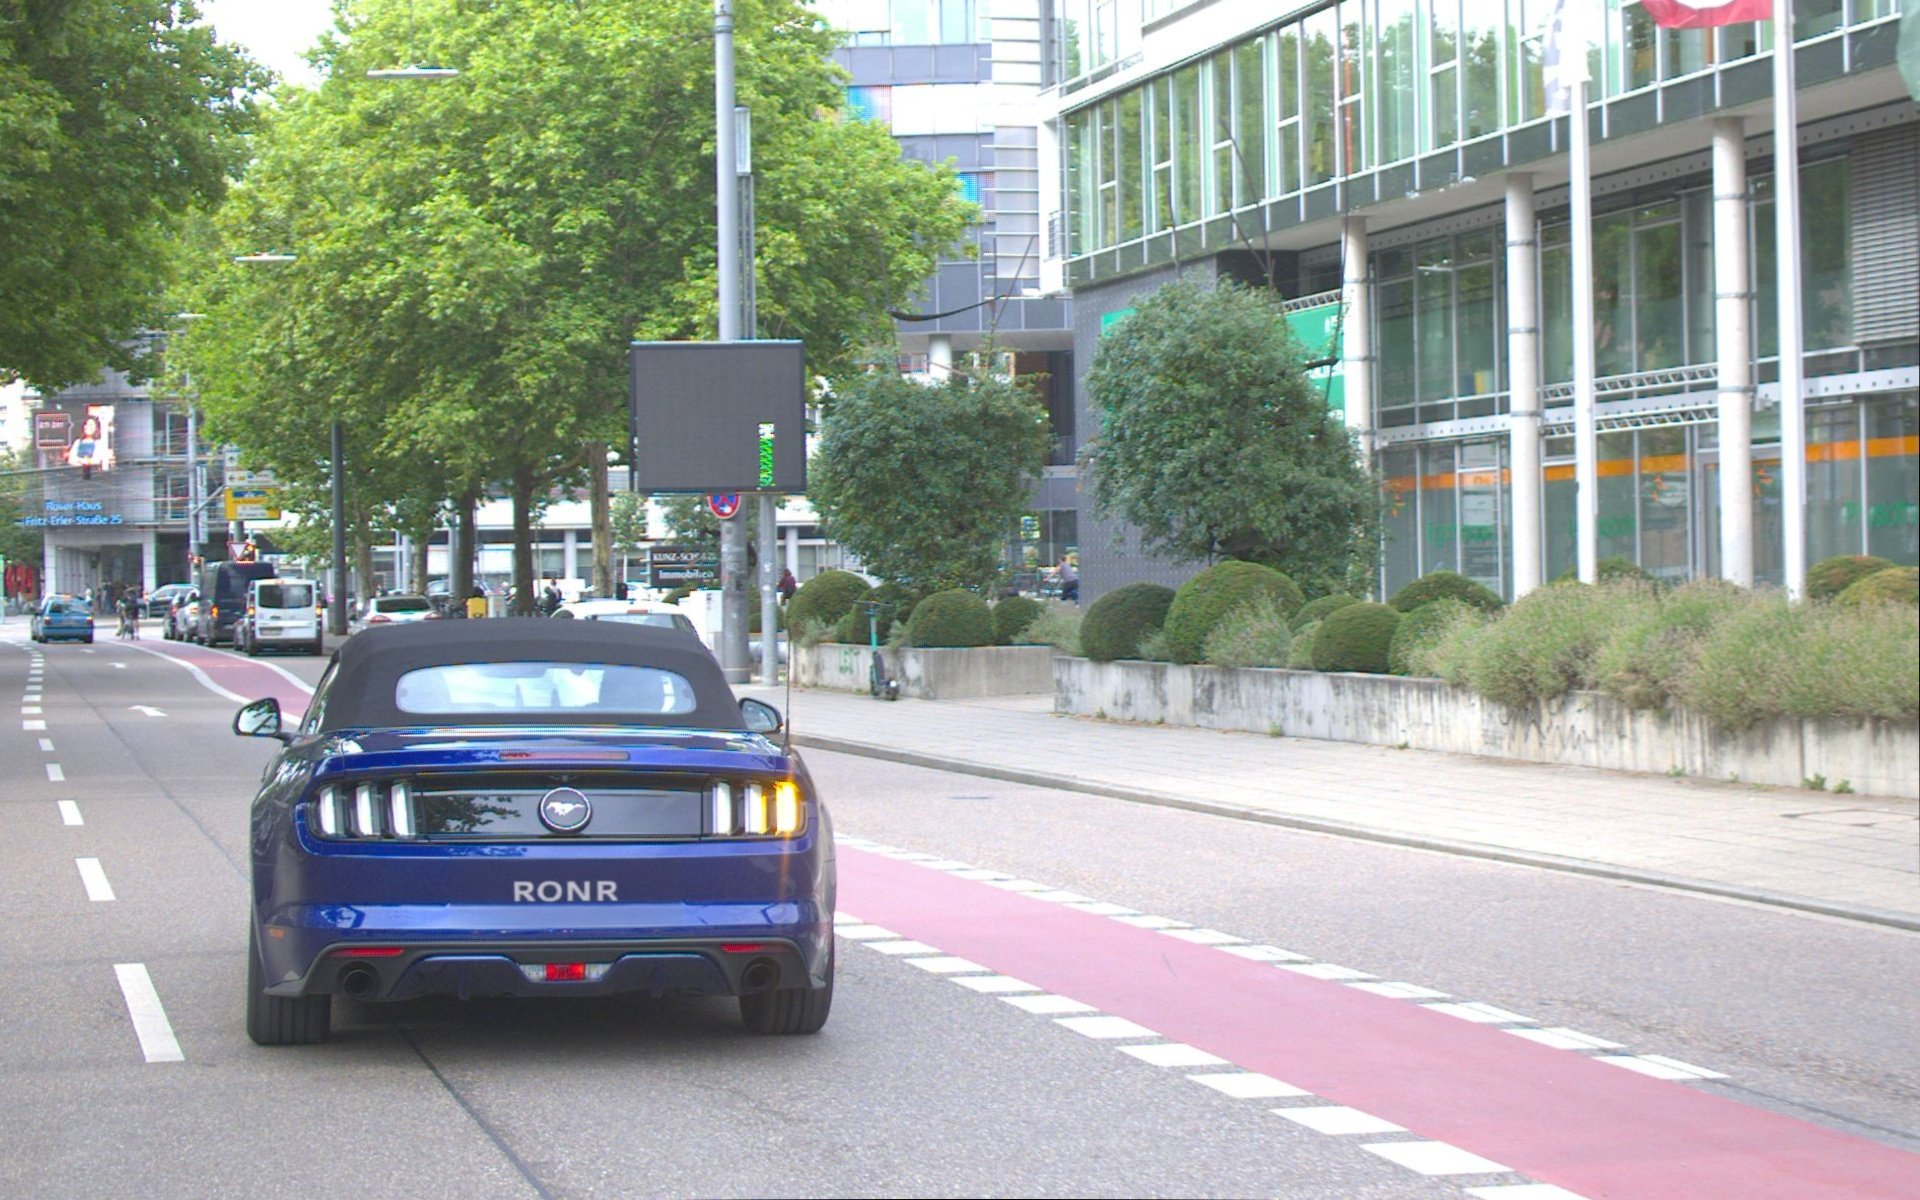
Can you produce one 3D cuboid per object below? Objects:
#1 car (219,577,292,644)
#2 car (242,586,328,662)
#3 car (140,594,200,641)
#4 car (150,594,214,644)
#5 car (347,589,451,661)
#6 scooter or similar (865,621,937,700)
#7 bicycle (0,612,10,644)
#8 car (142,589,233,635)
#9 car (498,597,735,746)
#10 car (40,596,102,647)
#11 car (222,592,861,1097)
[{"bbox_3d":[-20.745,0.310,101.158,1.834,1.897,4.176,-1,0,-15],"label":"car"},{"bbox_3d":[-17.479,0.605,88.890,1.890,1.897,4.130,-1,0,-15],"label":"car"},{"bbox_3d":[-26.740,0.566,116.251,1.834,1.516,4.176,-1,0,-15],"label":"car"},{"bbox_3d":[-24.882,0.598,109.913,1.834,1.516,4.176,-1,0,-15],"label":"car"},{"bbox_3d":[-13.073,0.555,79.941,1.879,1.576,4.326,-1,1,-16],"label":"car"},{"bbox_3d":[-0.747,0.754,43.336,0.587,0.947,1.860,-1,0,-11],"label":"scooter or similar"},{"bbox_3d":[-33.983,0.999,119.202,2.017,1.083,0.669,-1,0,-15],"label":"bicycle"},{"bbox_3d":[-35.644,0.558,158.638,3.986,2.007,2.000,-1,0,-11],"label":"car"},{"bbox_3d":[-3.695,0.707,36.352,1.834,1.434,4.188,-1,0,-15],"label":"car"},{"bbox_3d":[-28.318,0.670,109.508,1.834,1.541,4.216,-1,0,-15],"label":"car"},{"bbox_3d":[-1.626,0.715,12.387,1.875,1.399,4.283,-1,1,-10],"label":"car"}]
